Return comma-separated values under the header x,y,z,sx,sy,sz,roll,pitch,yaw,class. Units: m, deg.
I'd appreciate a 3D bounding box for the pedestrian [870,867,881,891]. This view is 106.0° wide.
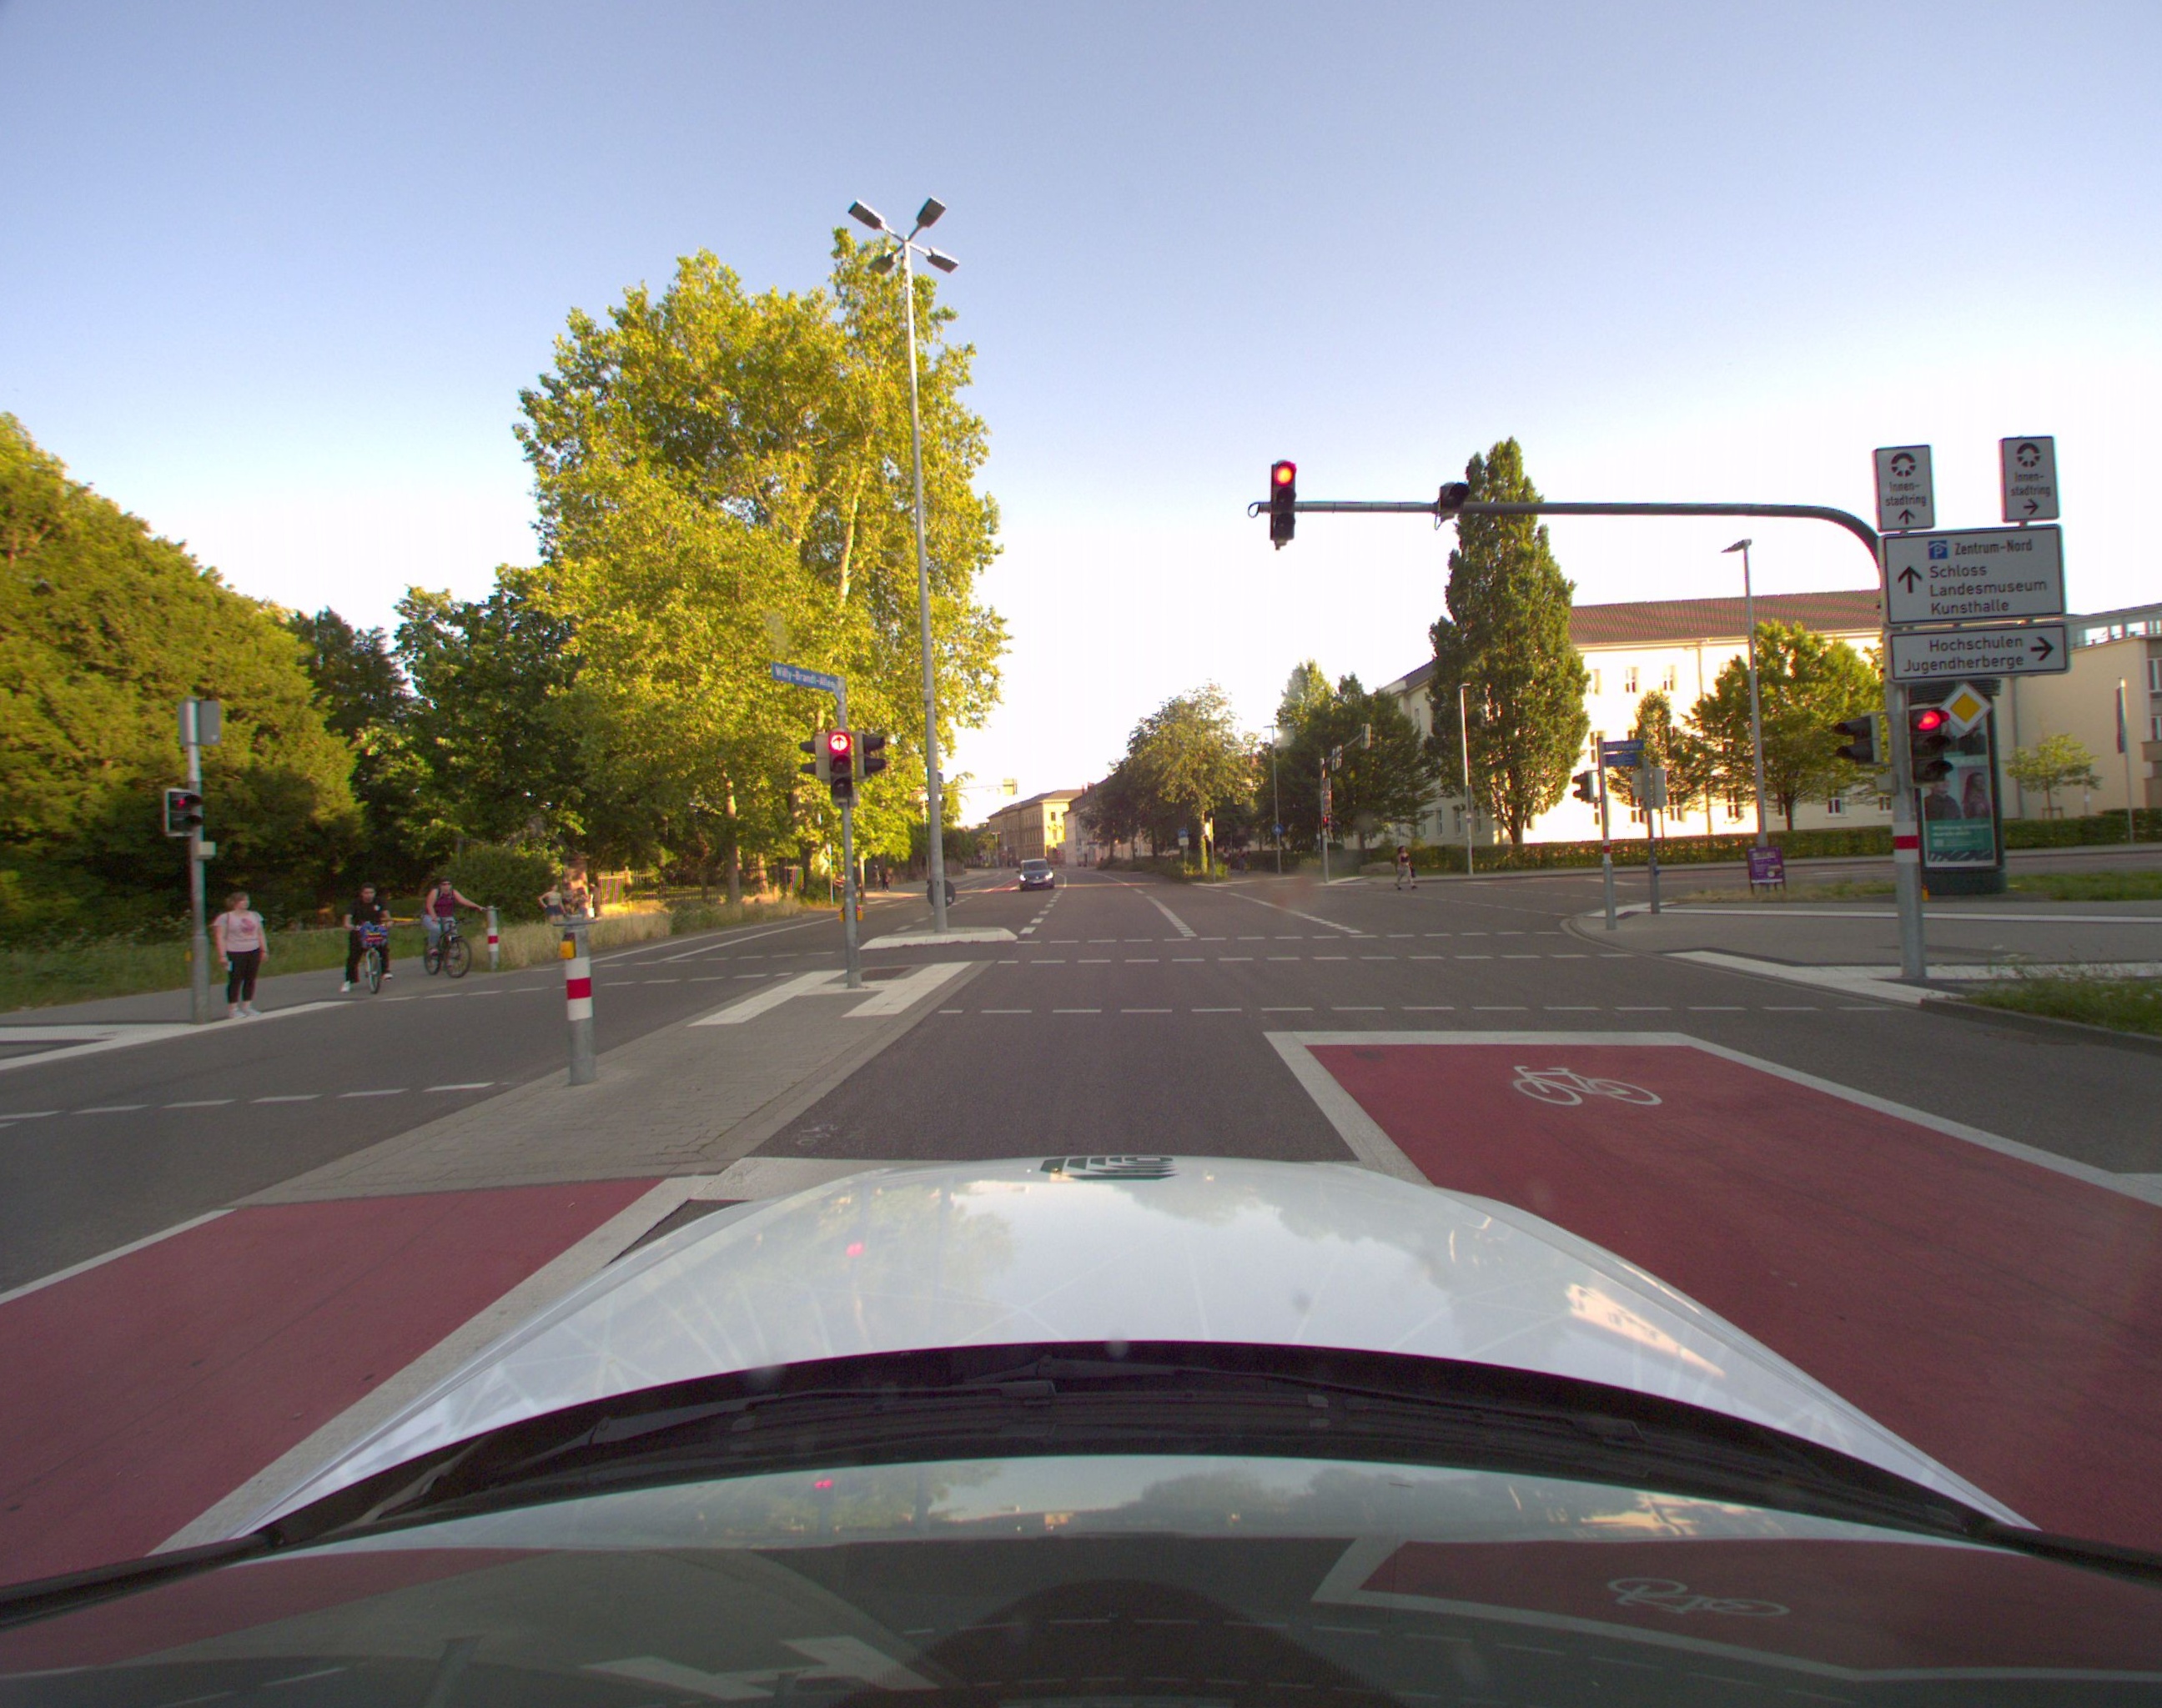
x,y,z,sx,sy,sz,roll,pitch,yaw,class
-13.765,1.660,54.495,0.533,1.596,0.591,-3,0,1,pedestrian

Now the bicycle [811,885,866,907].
x,y,z,sx,sy,sz,roll,pitch,yaw,class
-12.122,2.089,40.744,2.420,0.924,0.775,-3,0,2,bicycle

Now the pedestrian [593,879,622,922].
x,y,z,sx,sy,sz,roll,pitch,yaw,class
-23.250,2.271,40.006,0.759,2.014,1.075,-2,-1,-5,pedestrian

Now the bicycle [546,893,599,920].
x,y,z,sx,sy,sz,roll,pitch,yaw,class
-20.614,2.114,33.017,2.268,1.033,0.746,-2,-1,27,bicycle

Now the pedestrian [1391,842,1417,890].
x,y,z,sx,sy,sz,roll,pitch,yaw,class
11.251,0.397,28.389,0.597,1.636,0.692,-2,0,2,pedestrian

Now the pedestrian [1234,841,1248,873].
x,y,z,sx,sy,sz,roll,pitch,yaw,class
10.214,0.180,52.021,0.633,2.014,0.720,-2,-1,-2,pedestrian

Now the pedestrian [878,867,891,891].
x,y,z,sx,sy,sz,roll,pitch,yaw,class
-13.073,1.640,54.246,0.597,1.573,0.646,-3,0,1,pedestrian

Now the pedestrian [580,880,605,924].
x,y,z,sx,sy,sz,roll,pitch,yaw,class
-23.063,2.251,38.474,0.636,2.013,0.703,-3,0,11,pedestrian

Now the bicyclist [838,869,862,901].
x,y,z,sx,sy,sz,roll,pitch,yaw,class
-12.033,1.600,42.434,0.954,1.631,0.753,-3,0,2,bicyclist

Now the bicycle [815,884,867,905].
x,y,z,sx,sy,sz,roll,pitch,yaw,class
-12.485,2.112,42.430,2.420,0.924,0.775,-3,0,2,bicycle

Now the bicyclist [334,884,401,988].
x,y,z,sx,sy,sz,roll,pitch,yaw,class
-11.871,1.346,13.558,0.631,1.649,0.634,-3,-1,32,bicyclist

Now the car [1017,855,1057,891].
x,y,z,sx,sy,sz,roll,pitch,yaw,class
-2.312,0.989,43.597,1.844,1.720,4.293,-5,0,-2,car

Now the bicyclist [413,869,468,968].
x,y,z,sx,sy,sz,roll,pitch,yaw,class
-11.982,1.185,15.235,0.631,1.780,0.580,-3,-1,32,bicyclist

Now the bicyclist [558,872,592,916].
x,y,z,sx,sy,sz,roll,pitch,yaw,class
-20.608,1.619,33.144,0.932,1.728,0.762,-2,-1,26,bicyclist

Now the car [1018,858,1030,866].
x,y,z,sx,sy,sz,roll,pitch,yaw,class
-11.887,1.752,170.260,1.821,1.588,3.983,-4,0,-12,car

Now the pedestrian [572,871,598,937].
x,y,z,sx,sy,sz,roll,pitch,yaw,class
-15.530,1.543,25.494,0.598,2.014,0.634,-1,-1,-38,pedestrian

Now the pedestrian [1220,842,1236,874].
x,y,z,sx,sy,sz,roll,pitch,yaw,class
9.404,0.243,52.248,0.867,2.014,0.723,-2,-1,1,pedestrian

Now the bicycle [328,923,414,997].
x,y,z,sx,sy,sz,roll,pitch,yaw,class
-11.799,1.729,13.520,1.548,1.111,0.637,-3,-1,32,bicycle

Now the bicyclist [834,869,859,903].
x,y,z,sx,sy,sz,roll,pitch,yaw,class
-11.717,1.580,40.739,0.954,1.631,0.753,-3,0,2,bicyclist

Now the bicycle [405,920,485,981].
x,y,z,sx,sy,sz,roll,pitch,yaw,class
-11.870,1.766,15.179,1.749,1.030,0.583,-3,0,32,bicycle

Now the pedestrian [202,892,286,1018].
x,y,z,sx,sy,sz,roll,pitch,yaw,class
-11.773,1.402,11.465,0.604,1.695,0.499,-3,0,3,pedestrian

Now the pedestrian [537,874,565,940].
x,y,z,sx,sy,sz,roll,pitch,yaw,class
-16.590,1.630,25.494,0.654,2.014,0.599,-1,-1,-37,pedestrian
